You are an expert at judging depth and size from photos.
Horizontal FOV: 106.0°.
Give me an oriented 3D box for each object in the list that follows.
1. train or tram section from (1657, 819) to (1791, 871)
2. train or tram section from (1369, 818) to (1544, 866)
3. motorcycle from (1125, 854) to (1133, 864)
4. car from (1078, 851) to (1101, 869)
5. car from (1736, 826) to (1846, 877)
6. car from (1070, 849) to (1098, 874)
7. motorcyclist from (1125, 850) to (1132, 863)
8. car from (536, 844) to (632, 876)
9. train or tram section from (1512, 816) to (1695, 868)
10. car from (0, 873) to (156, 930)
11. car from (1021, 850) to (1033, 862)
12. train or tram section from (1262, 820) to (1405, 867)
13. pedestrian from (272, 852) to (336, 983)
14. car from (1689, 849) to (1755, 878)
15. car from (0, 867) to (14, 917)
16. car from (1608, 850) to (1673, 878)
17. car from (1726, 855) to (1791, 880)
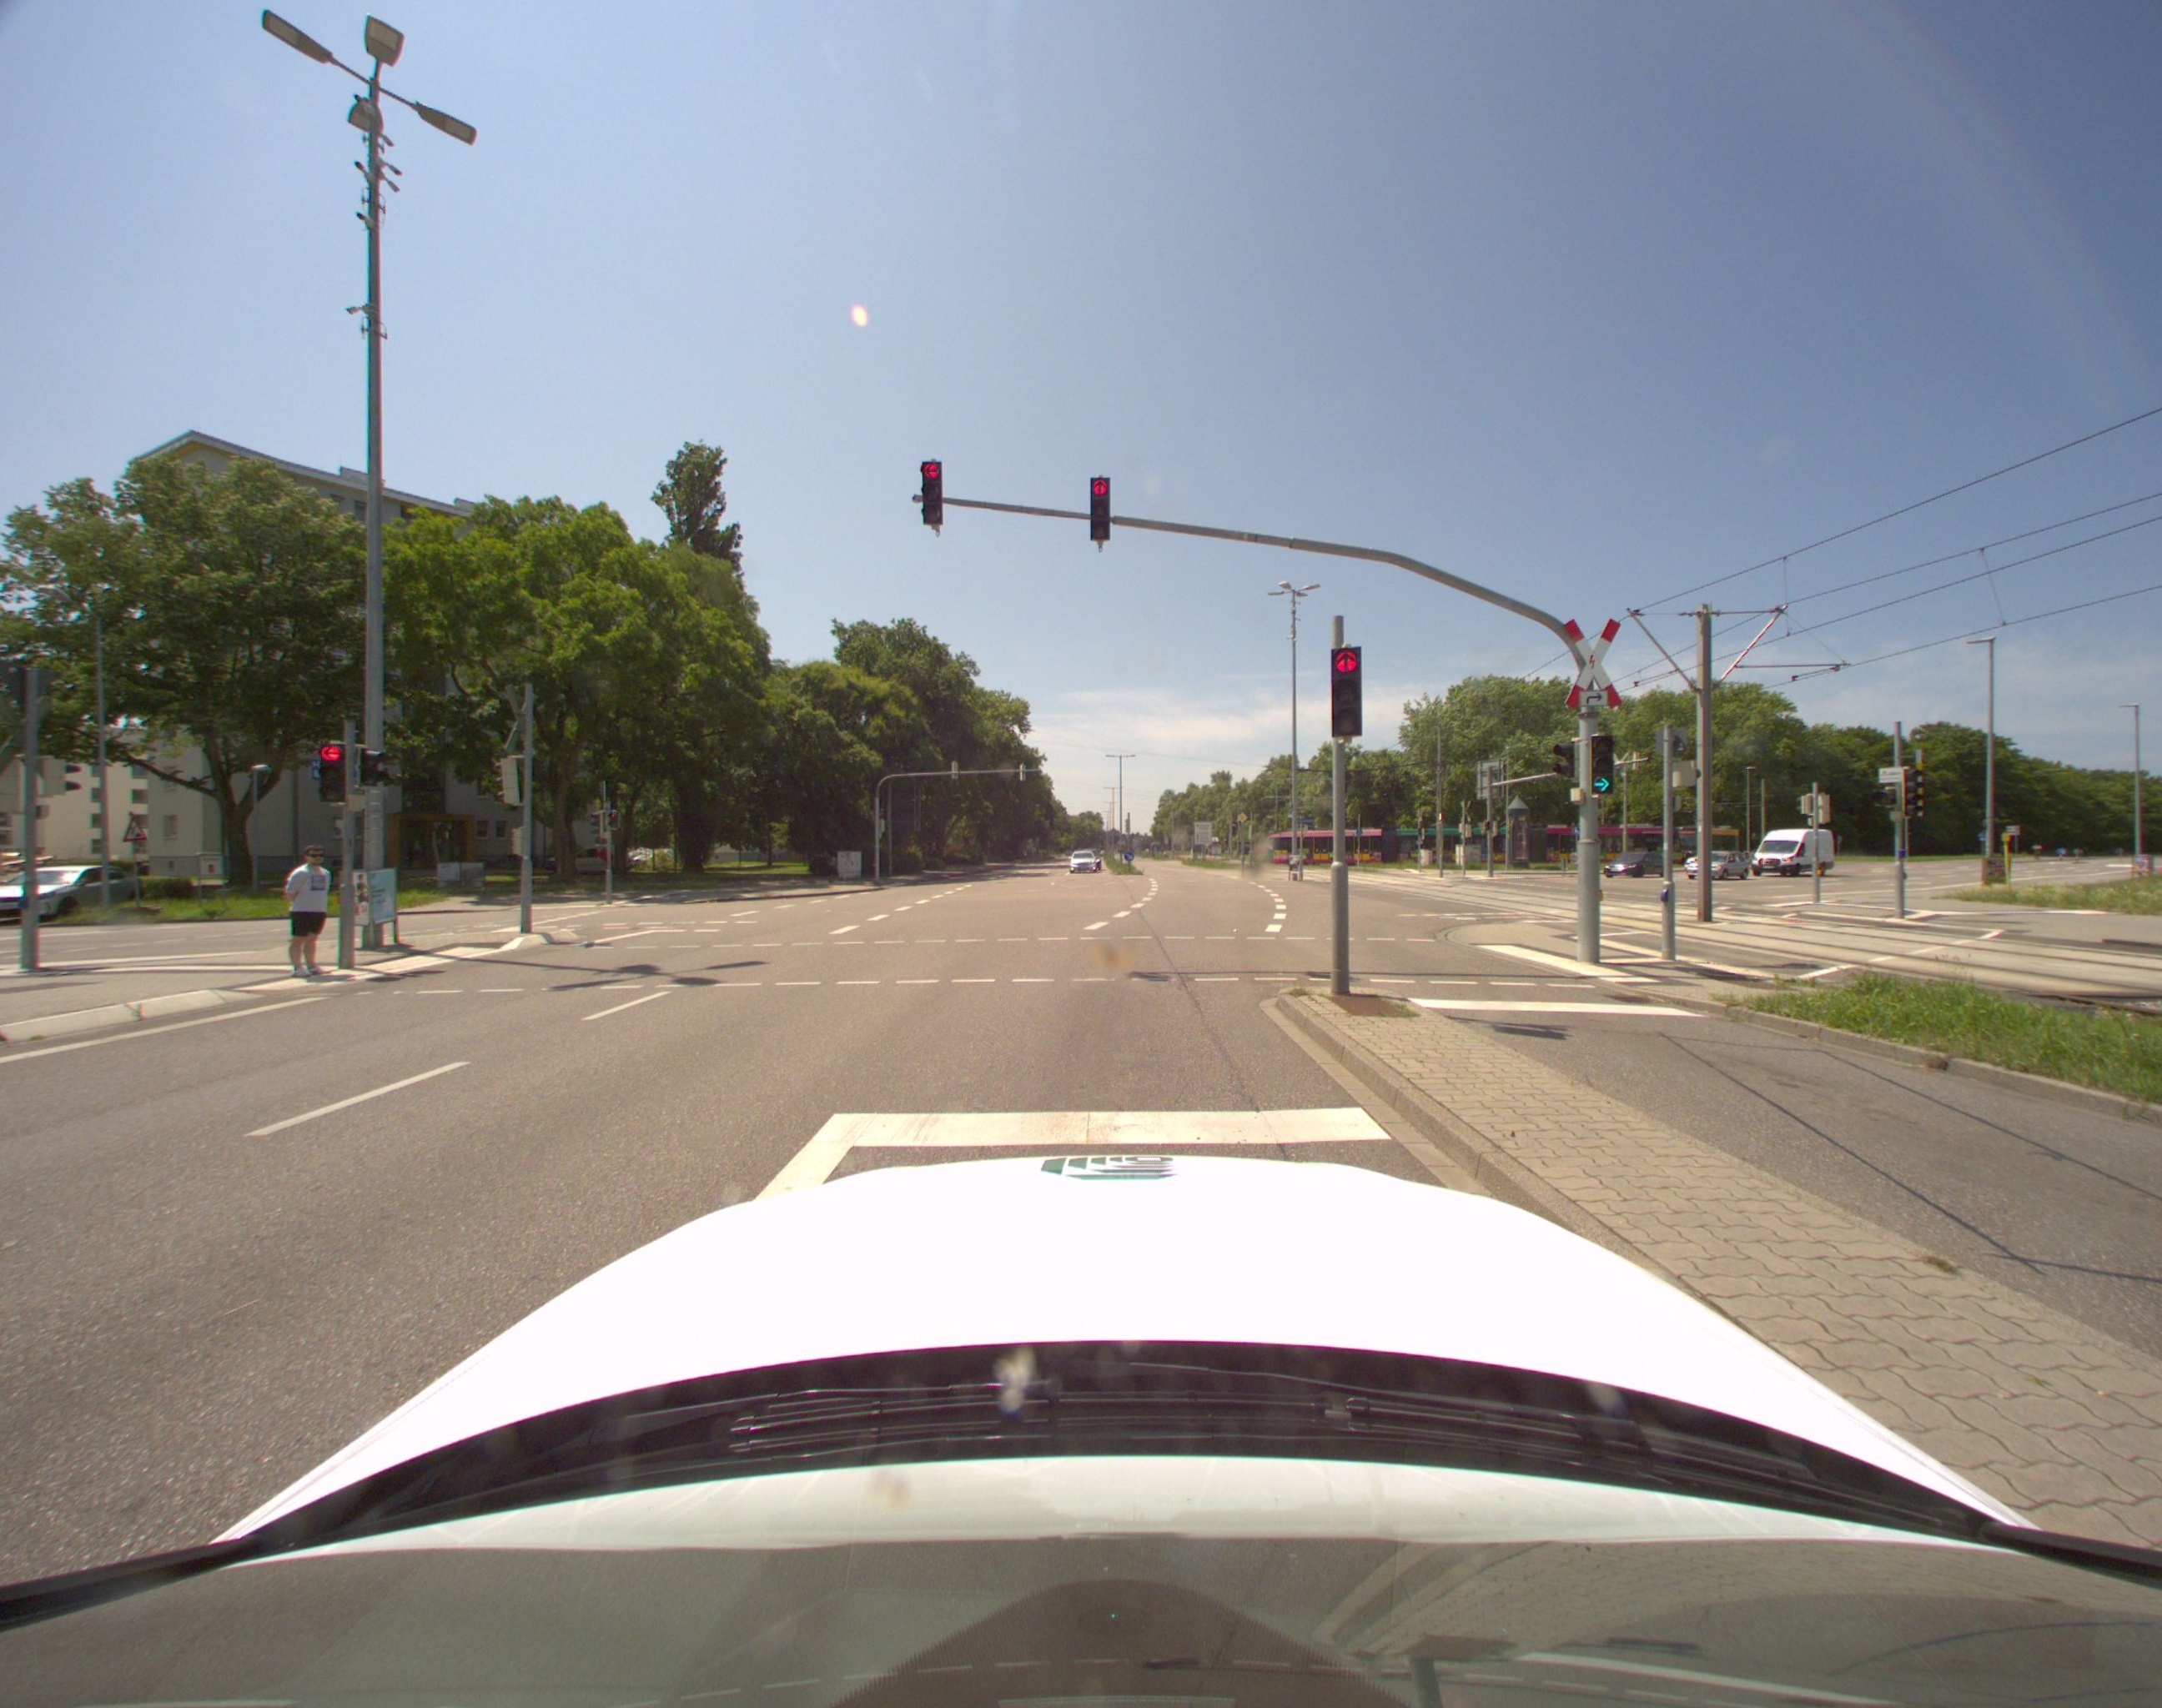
[{"bbox_3d":[56.215,-0.614,71.071,13.980,3.920,2.900,2,-3,-24],"label":"train or tram section"},{"bbox_3d":[31.742,-0.959,69.563,13.297,3.812,2.938,0,-3,21],"label":"train or tram section"},{"bbox_3d":[6.143,0.689,104.854,0.844,1.255,2.449,1,0,0],"label":"motorcycle"},{"bbox_3d":[0.685,0.451,63.092,1.704,1.365,3.867,0,0,2],"label":"car"},{"bbox_3d":[41.726,-0.188,47.785,7.306,2.802,2.691,0,0,-30],"label":"car"},{"bbox_3d":[0.226,0.499,55.756,1.778,1.628,3.867,0,0,2],"label":"car"},{"bbox_3d":[6.142,0.268,104.806,0.787,1.643,1.211,1,0,0],"label":"motorcyclist"},{"bbox_3d":[-29.558,0.330,48.546,1.769,1.768,4.577,0,0,41],"label":"car"},{"bbox_3d":[43.395,-0.929,67.829,13.973,3.920,2.918,1,-3,-5],"label":"train or tram section"},{"bbox_3d":[-29.103,1.307,23.366,1.629,1.380,3.973,1,0,-20],"label":"car"},{"bbox_3d":[-9.684,0.439,146.327,1.988,2.014,3.997,3,0,-1],"label":"car"},{"bbox_3d":[23.117,-0.796,75.713,2.940,3.812,12.914,3,-4,-43],"label":"train or tram section"},{"bbox_3d":[-10.260,0.821,10.762,0.381,1.687,0.485,0,0,-2],"label":"pedestrian"},{"bbox_3d":[33.695,0.455,42.758,3.821,1.463,1.623,0,0,-34],"label":"car"},{"bbox_3d":[-31.871,1.109,21.958,1.620,1.464,3.980,1,0,-14],"label":"car"},{"bbox_3d":[30.907,0.531,44.970,3.519,1.463,1.624,0,0,-30],"label":"car"},{"bbox_3d":[41.880,0.785,50.322,4.506,1.463,1.625,0,0,-30],"label":"car"}]
